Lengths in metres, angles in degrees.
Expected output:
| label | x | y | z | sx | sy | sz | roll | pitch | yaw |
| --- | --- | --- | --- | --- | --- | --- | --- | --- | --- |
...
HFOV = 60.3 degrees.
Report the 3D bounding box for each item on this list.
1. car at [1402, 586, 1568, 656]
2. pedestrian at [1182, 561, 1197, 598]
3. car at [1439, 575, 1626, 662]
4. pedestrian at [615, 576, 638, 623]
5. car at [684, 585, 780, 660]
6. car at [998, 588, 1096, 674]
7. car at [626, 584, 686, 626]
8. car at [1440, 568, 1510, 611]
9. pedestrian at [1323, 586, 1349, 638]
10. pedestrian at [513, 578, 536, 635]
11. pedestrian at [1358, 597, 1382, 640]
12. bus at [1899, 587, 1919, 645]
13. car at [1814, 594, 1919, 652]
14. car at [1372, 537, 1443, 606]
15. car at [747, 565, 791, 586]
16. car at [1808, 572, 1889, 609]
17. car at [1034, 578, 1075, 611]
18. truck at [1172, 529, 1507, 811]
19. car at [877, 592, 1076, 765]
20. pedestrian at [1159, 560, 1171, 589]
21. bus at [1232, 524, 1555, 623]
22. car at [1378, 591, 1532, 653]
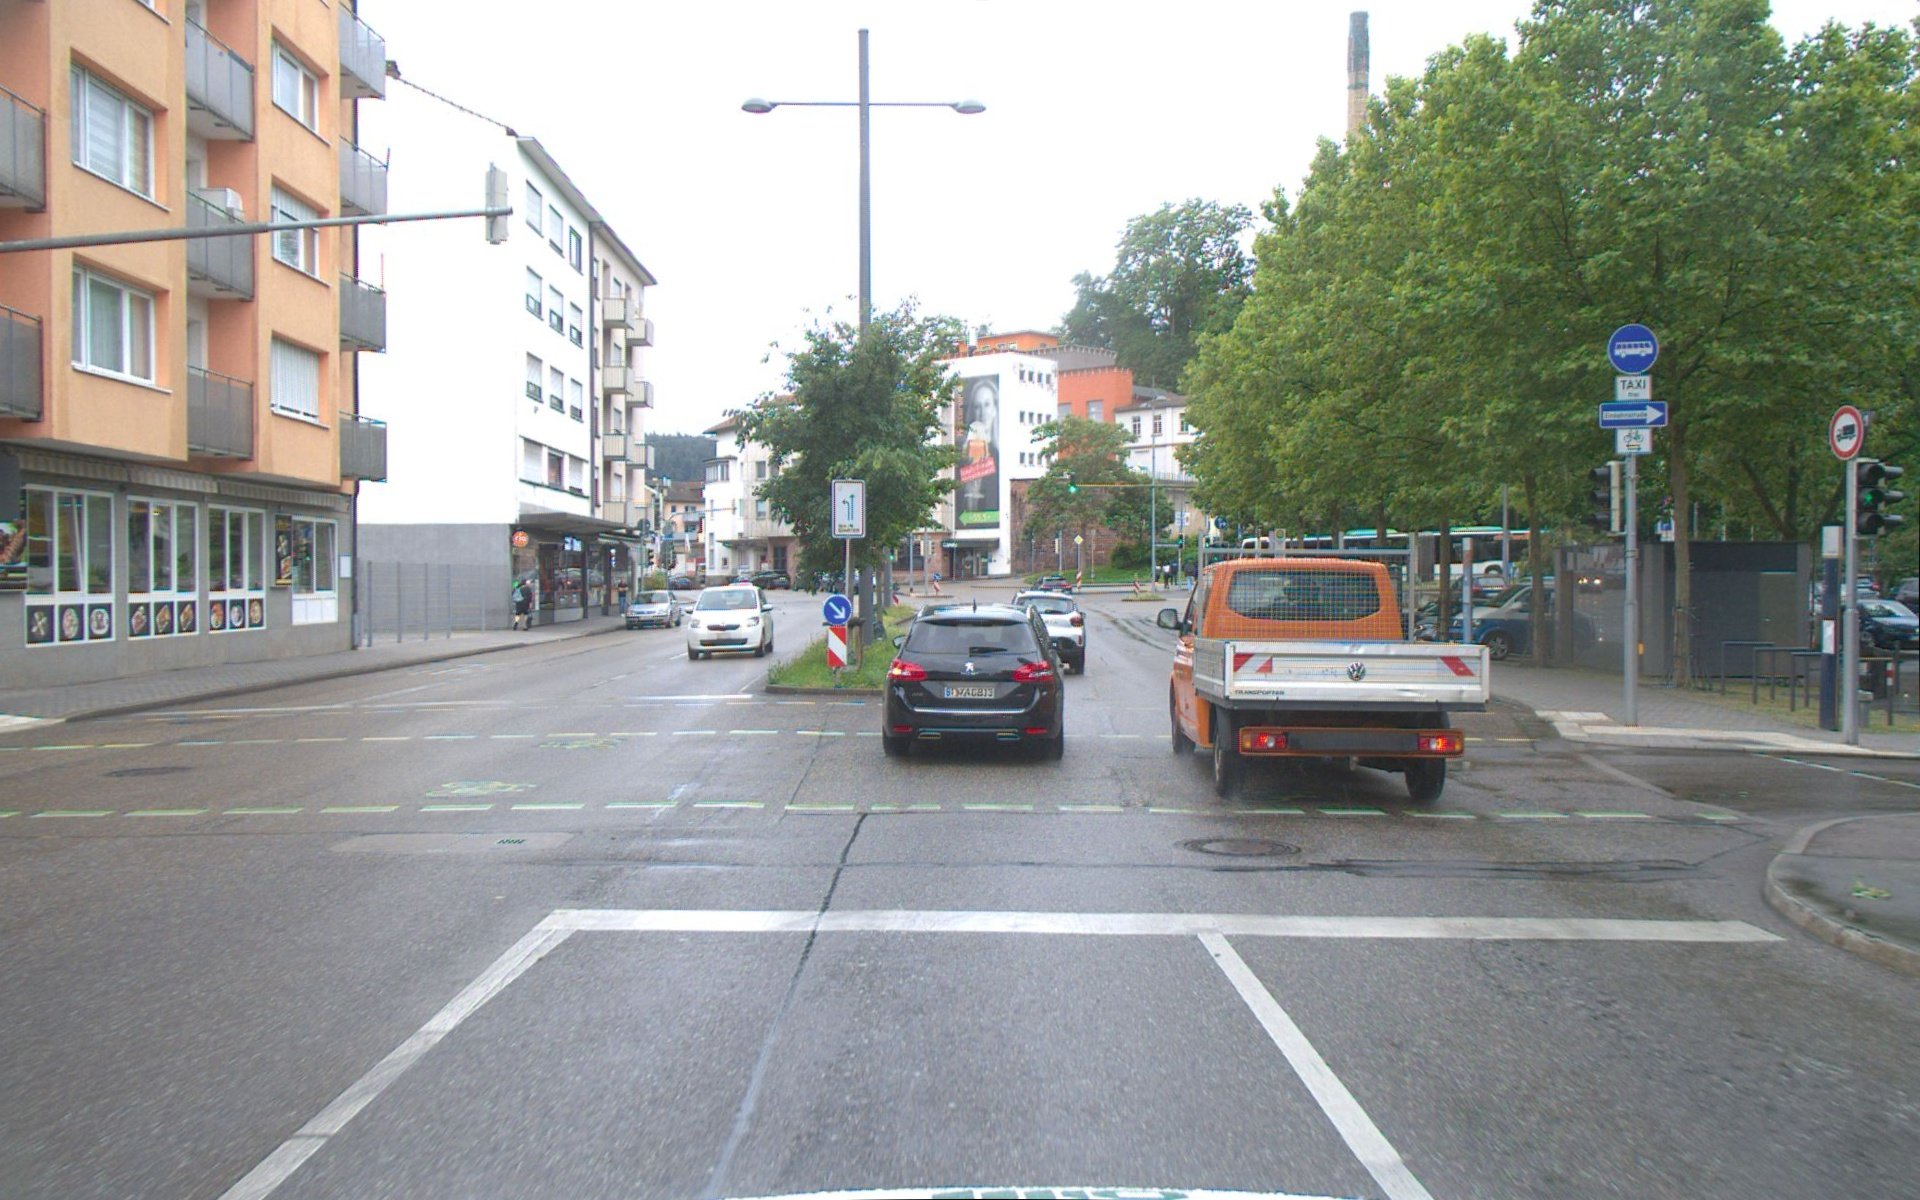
| label | x | y | z | sx | sy | sz | roll | pitch | yaw |
| --- | --- | --- | --- | --- | --- | --- | --- | --- | --- |
| car | 14.351 | 0.545 | 45.373 | 3.905 | 1.678 | 1.918 | 3 | 1 | 1 |
| pedestrian | 12.741 | -1.137 | 91.674 | 0.703 | 2.027 | 0.563 | -1 | 2 | -3 |
| car | 14.092 | 0.432 | 40.901 | 3.904 | 1.958 | 1.970 | 2 | 1 | 1 |
| pedestrian | -15.008 | -0.011 | 74.332 | 0.720 | 2.049 | 0.649 | 4 | -2 | -35 |
| car | -4.906 | 0.451 | 35.956 | 1.620 | 1.475 | 3.543 | -1 | 1 | -1 |
| car | 1.613 | 0.545 | 31.767 | 1.758 | 1.509 | 4.001 | 0 | 1 | 1 |
| car | -11.666 | 0.170 | 63.680 | 1.741 | 1.551 | 3.660 | 0 | 1 | -2 |
| car | 23.262 | -0.503 | 74.869 | 1.793 | 1.857 | 4.227 | 1 | 1 | -1 |
| pedestrian | 12.586 | 0.396 | 55.339 | 0.709 | 1.729 | 0.623 | 1 | 0 | 0 |
| pedestrian | -14.561 | 0.210 | 55.268 | 0.626 | 1.893 | 0.523 | 1 | 1 | -4 |
| pedestrian | 13.403 | 0.613 | 54.087 | 0.608 | 1.381 | 0.726 | 1 | 0 | 0 |
| bus | 34.121 | 0.575 | 56.408 | 1.952 | 1.982 | 4.000 | 3 | -1 | 1 |
| car | 25.195 | 0.597 | 45.278 | 1.635 | 1.458 | 4.001 | 0 | 1 | 1 |
| car | 20.556 | -1.293 | 76.100 | 2.030 | 3.022 | 4.227 | 1 | 0 | -1 |
| car | -15.027 | -1.925 | 130.158 | 1.588 | 1.536 | 3.543 | 1 | 1 | -43 |
| car | 38.987 | -0.435 | 72.634 | 1.598 | 1.595 | 3.608 | 0 | 1 | -1 |
| car | 5.027 | -0.276 | 87.981 | 1.613 | 1.591 | 3.596 | 3 | -1 | -5 |
| truck | 3.076 | 0.478 | 14.464 | 2.077 | 2.060 | 4.718 | 0 | 1 | 3 |
| car | 0.190 | 0.701 | 16.969 | 1.758 | 1.509 | 4.001 | 2 | 0 | 1 |
| pedestrian | 11.890 | -1.472 | 95.871 | 0.627 | 1.693 | 0.563 | -1 | 2 | -3 |
| bus | 24.545 | -1.510 | 94.273 | 17.548 | 5.302 | 3.099 | 1 | 0 | 1 |
| car | 14.313 | 0.626 | 47.943 | 3.905 | 1.535 | 1.744 | 3 | 1 | 1 |
